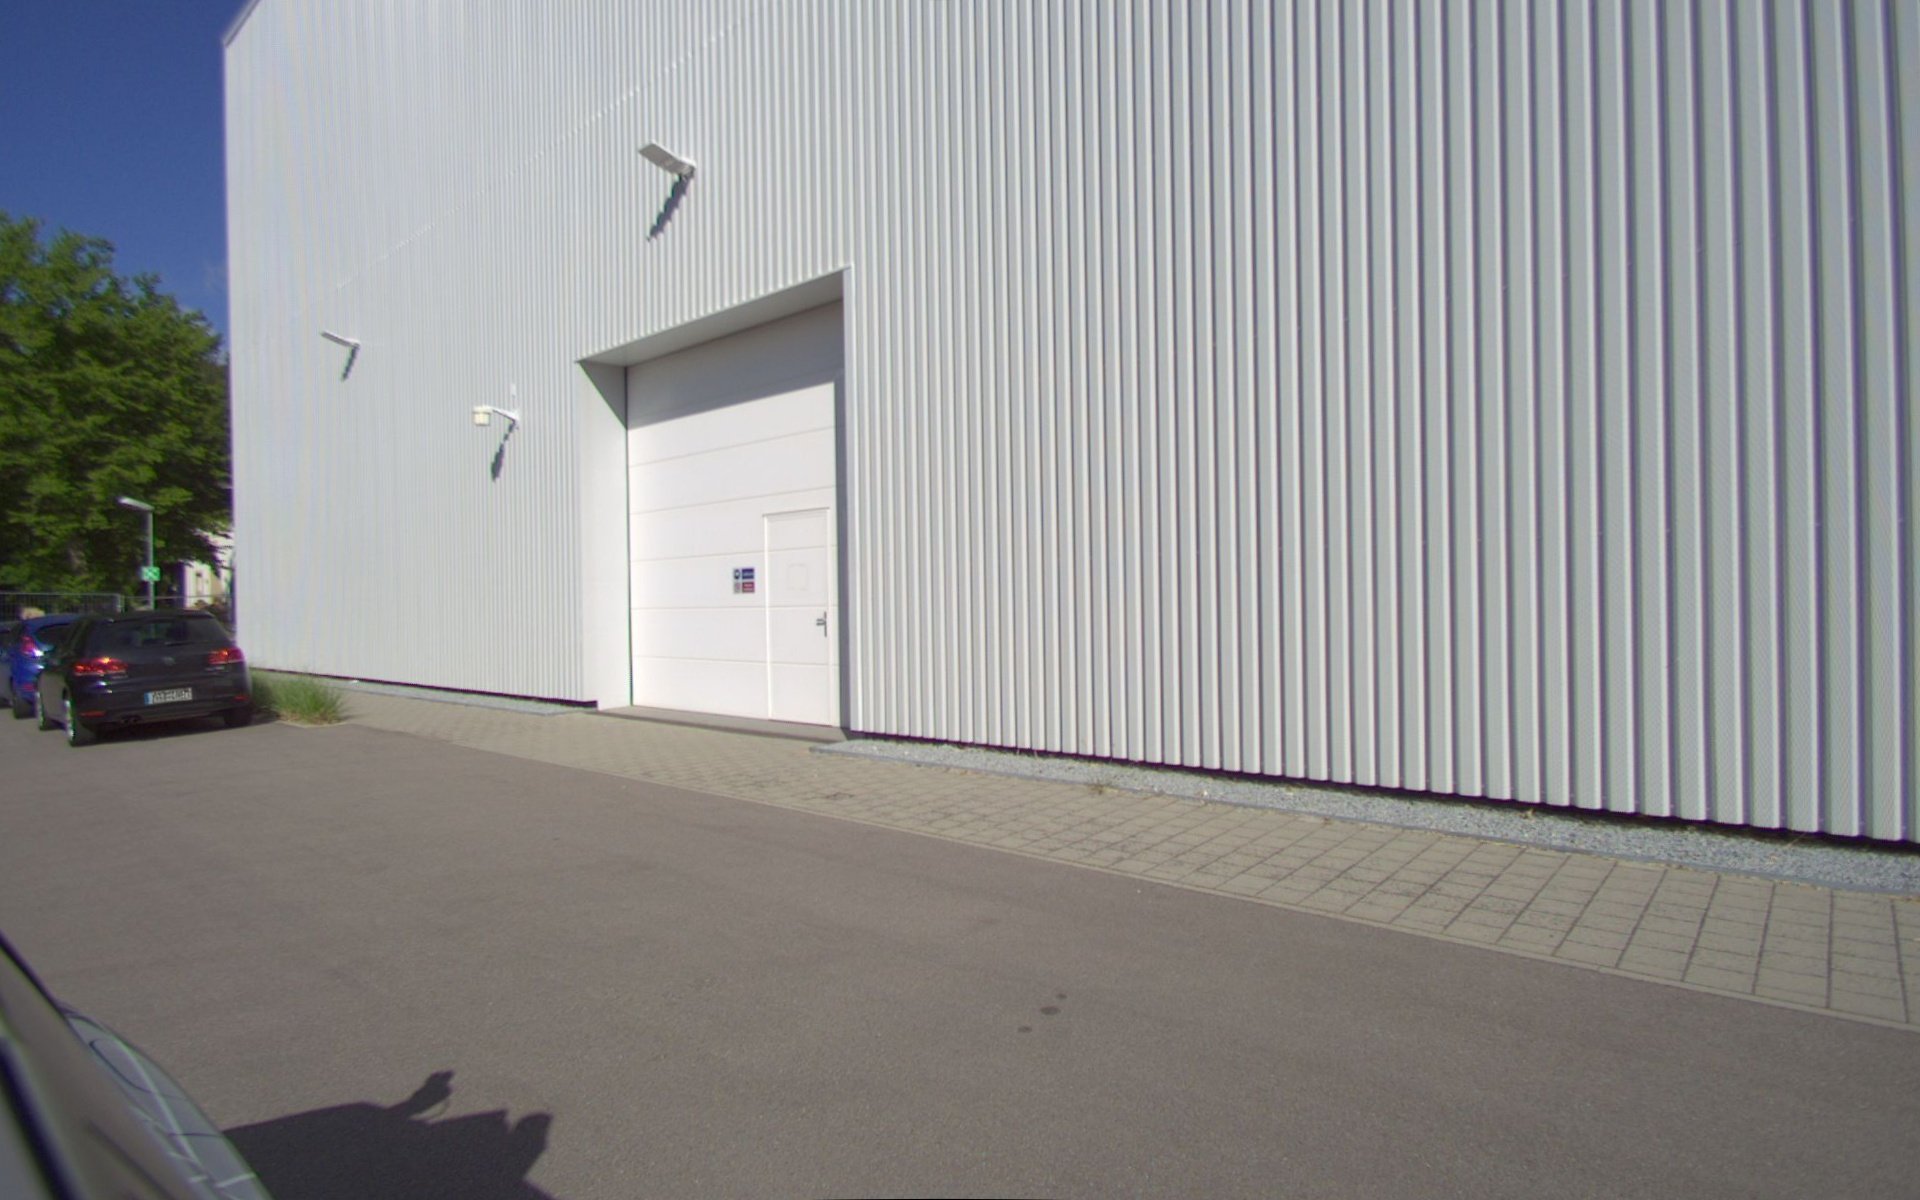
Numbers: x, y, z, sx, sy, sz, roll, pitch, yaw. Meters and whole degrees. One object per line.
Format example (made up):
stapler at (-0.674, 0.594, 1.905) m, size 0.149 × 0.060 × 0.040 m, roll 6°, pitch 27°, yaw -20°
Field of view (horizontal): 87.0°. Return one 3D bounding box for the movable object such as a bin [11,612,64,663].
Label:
movable object such as a bin at (-30.748, 1.231, 33.741) m, size 1.228 × 1.609 × 1.080 m, roll 1°, pitch 1°, yaw 36°

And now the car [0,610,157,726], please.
car at (-14.197, 0.979, 15.943) m, size 4.092 × 1.511 × 1.614 m, roll -1°, pitch 2°, yaw 41°

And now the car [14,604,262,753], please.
car at (-10.470, 0.867, 12.774) m, size 4.292 × 1.511 × 1.736 m, roll -1°, pitch 1°, yaw 42°

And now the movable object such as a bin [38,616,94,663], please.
movable object such as a bin at (-29.018, 1.259, 32.840) m, size 1.228 × 1.450 × 1.080 m, roll 0°, pitch 2°, yaw 36°

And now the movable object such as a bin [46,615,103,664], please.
movable object such as a bin at (-27.994, 1.234, 31.986) m, size 1.228 × 1.443 × 1.080 m, roll 0°, pitch 2°, yaw 36°

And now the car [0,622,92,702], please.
car at (-18.273, 1.140, 19.495) m, size 4.051 × 1.371 × 1.756 m, roll -1°, pitch 0°, yaw 41°
